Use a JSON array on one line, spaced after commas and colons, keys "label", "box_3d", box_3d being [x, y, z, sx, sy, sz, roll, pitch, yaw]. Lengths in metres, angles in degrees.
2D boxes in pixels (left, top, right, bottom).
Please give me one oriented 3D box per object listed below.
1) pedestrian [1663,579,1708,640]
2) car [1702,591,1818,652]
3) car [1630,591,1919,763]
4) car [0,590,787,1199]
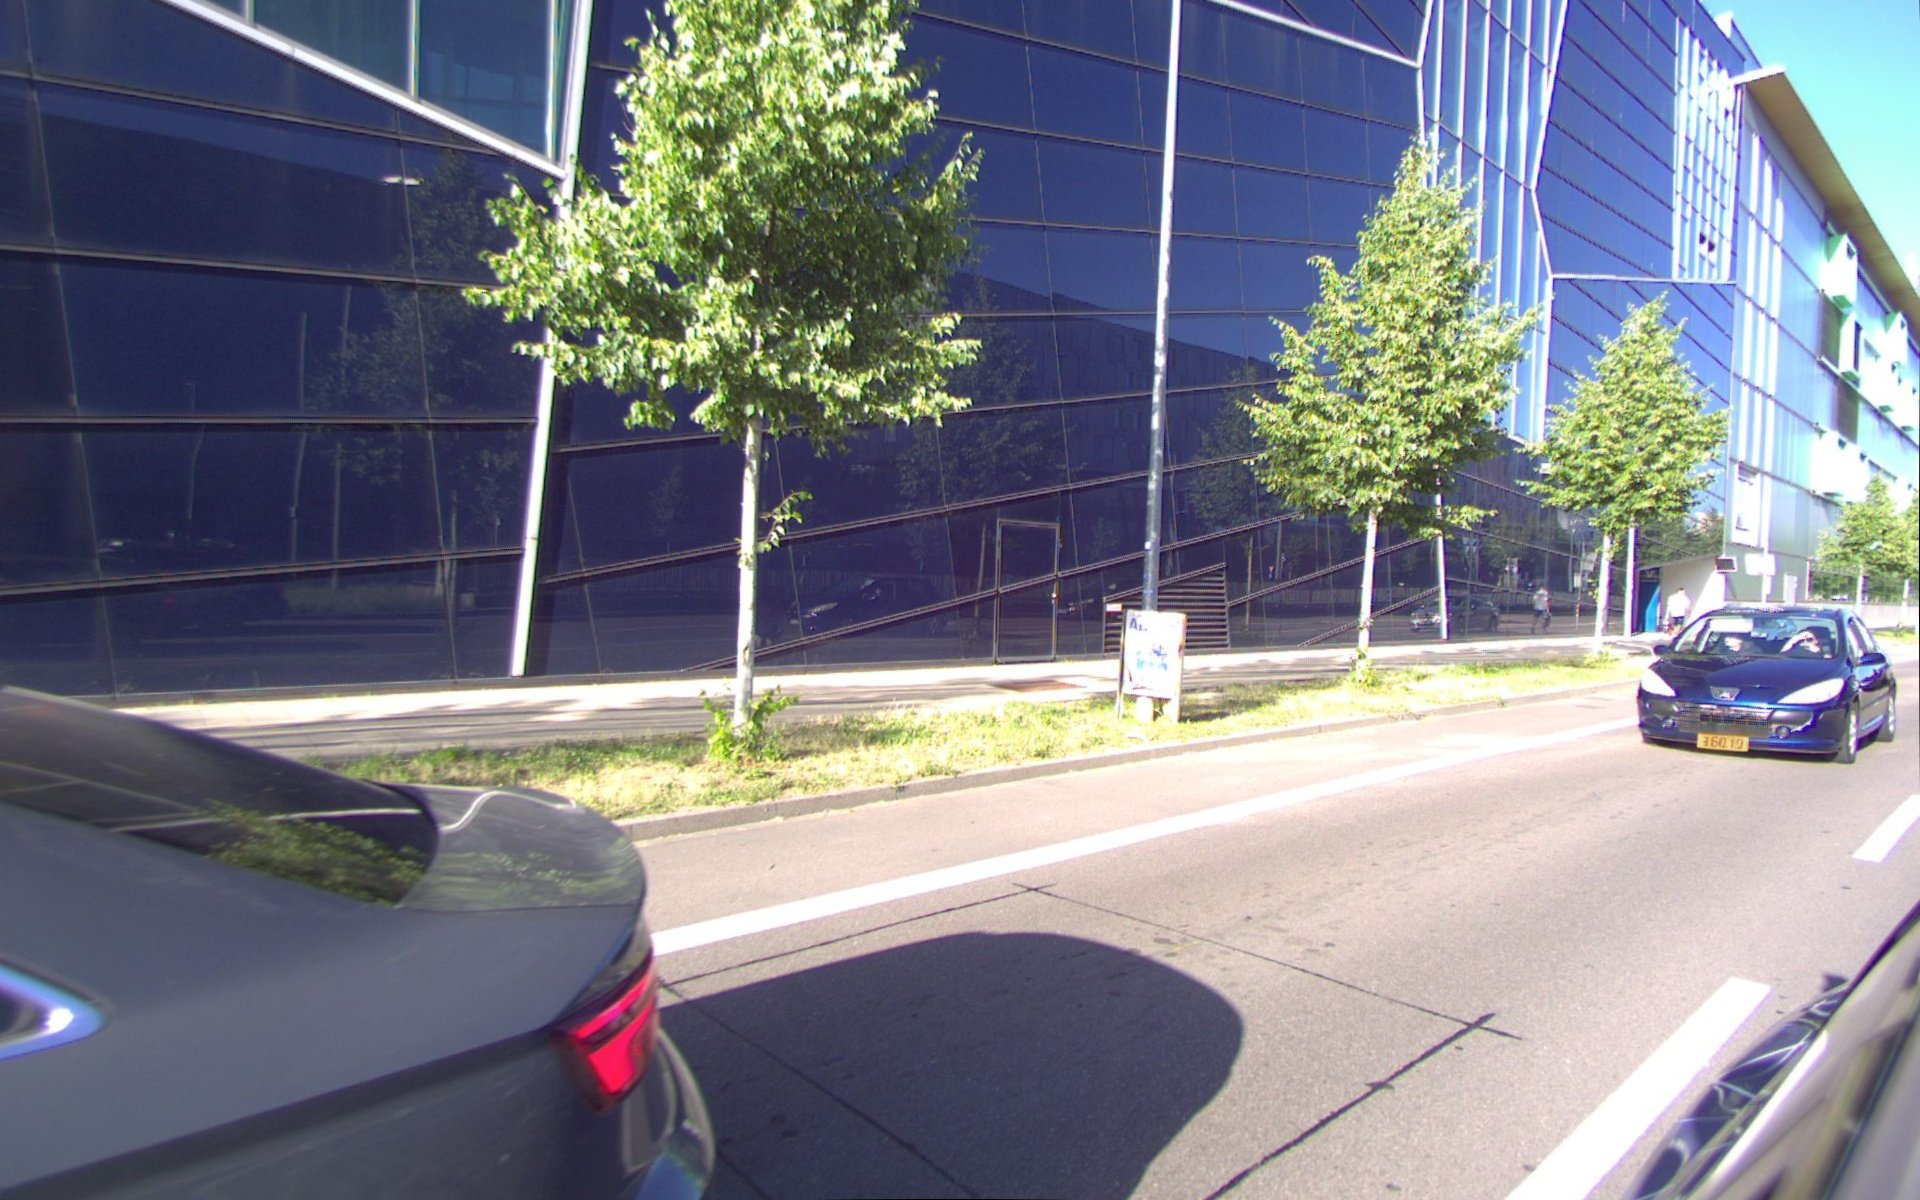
[{"label": "pedestrian", "box_3d": [22.907, 0.294, 31.948, 0.889, 1.846, 0.829, 1, 4, -41]}, {"label": "car", "box_3d": [23.116, 0.577, 29.181, 4.633, 1.516, 1.739, 0, 3, -41]}, {"label": "car", "box_3d": [8.805, 0.677, 10.827, 3.902, 1.497, 1.752, 0, 0, -41]}, {"label": "car", "box_3d": [-2.413, 0.699, 0.785, 4.187, 1.409, 1.750, 0, 1, -39]}]
